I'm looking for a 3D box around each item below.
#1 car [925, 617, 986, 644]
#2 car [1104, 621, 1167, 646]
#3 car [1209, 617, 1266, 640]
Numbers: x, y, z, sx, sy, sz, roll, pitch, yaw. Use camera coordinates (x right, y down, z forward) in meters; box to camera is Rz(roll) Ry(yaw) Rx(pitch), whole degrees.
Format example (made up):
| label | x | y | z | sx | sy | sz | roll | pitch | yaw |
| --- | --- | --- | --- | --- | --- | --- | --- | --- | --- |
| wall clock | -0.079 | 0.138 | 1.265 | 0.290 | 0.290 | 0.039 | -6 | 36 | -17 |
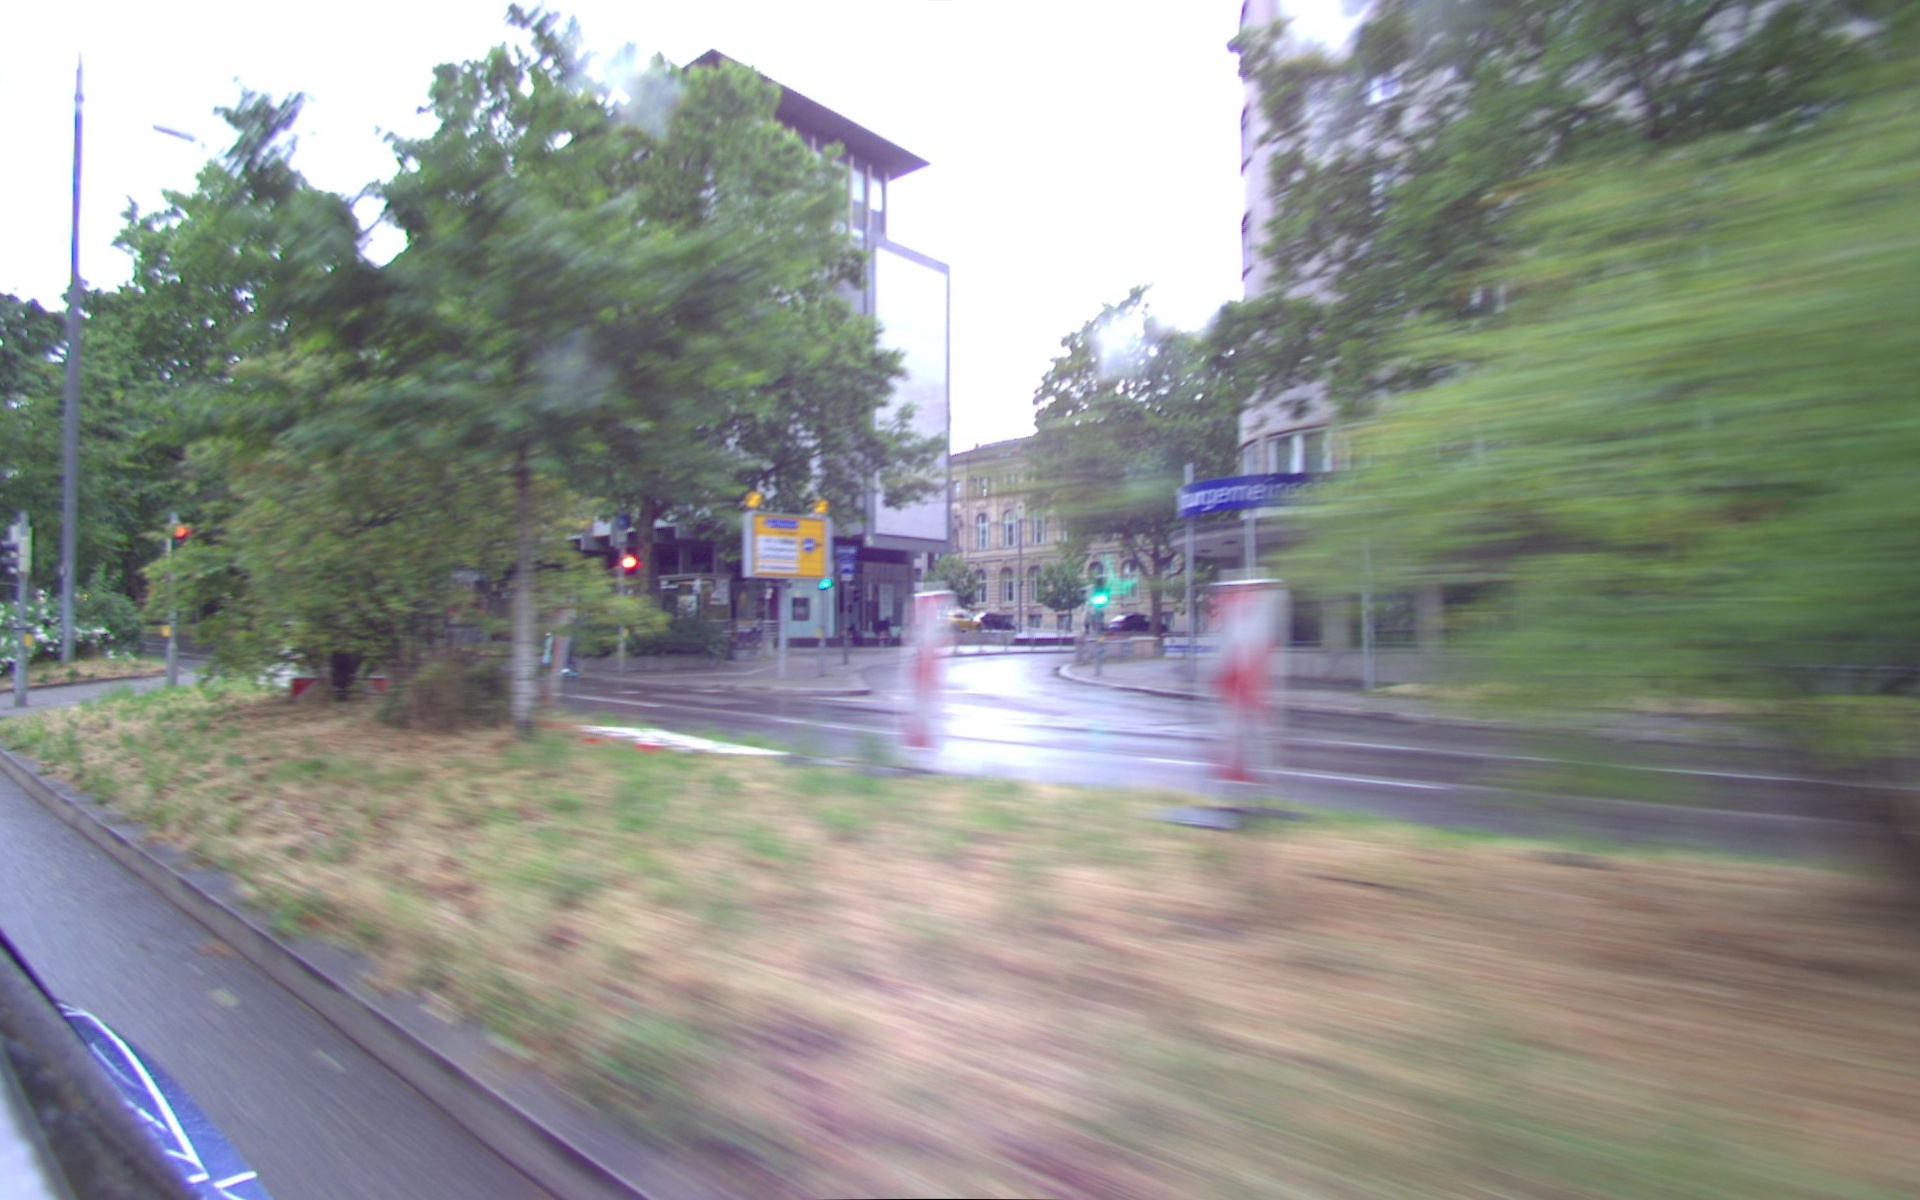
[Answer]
| label | x | y | z | sx | sy | sz | roll | pitch | yaw |
| --- | --- | --- | --- | --- | --- | --- | --- | --- | --- |
| car | -0.315 | 2.151 | 71.937 | 4.078 | 1.852 | 1.931 | 0 | -2 | -41 |
| car | 11.597 | 2.196 | 66.824 | 3.915 | 1.564 | 1.749 | 0 | -1 | -32 |
| car | 19.886 | 2.049 | 72.541 | 3.915 | 1.564 | 1.749 | 0 | -1 | -32 |
